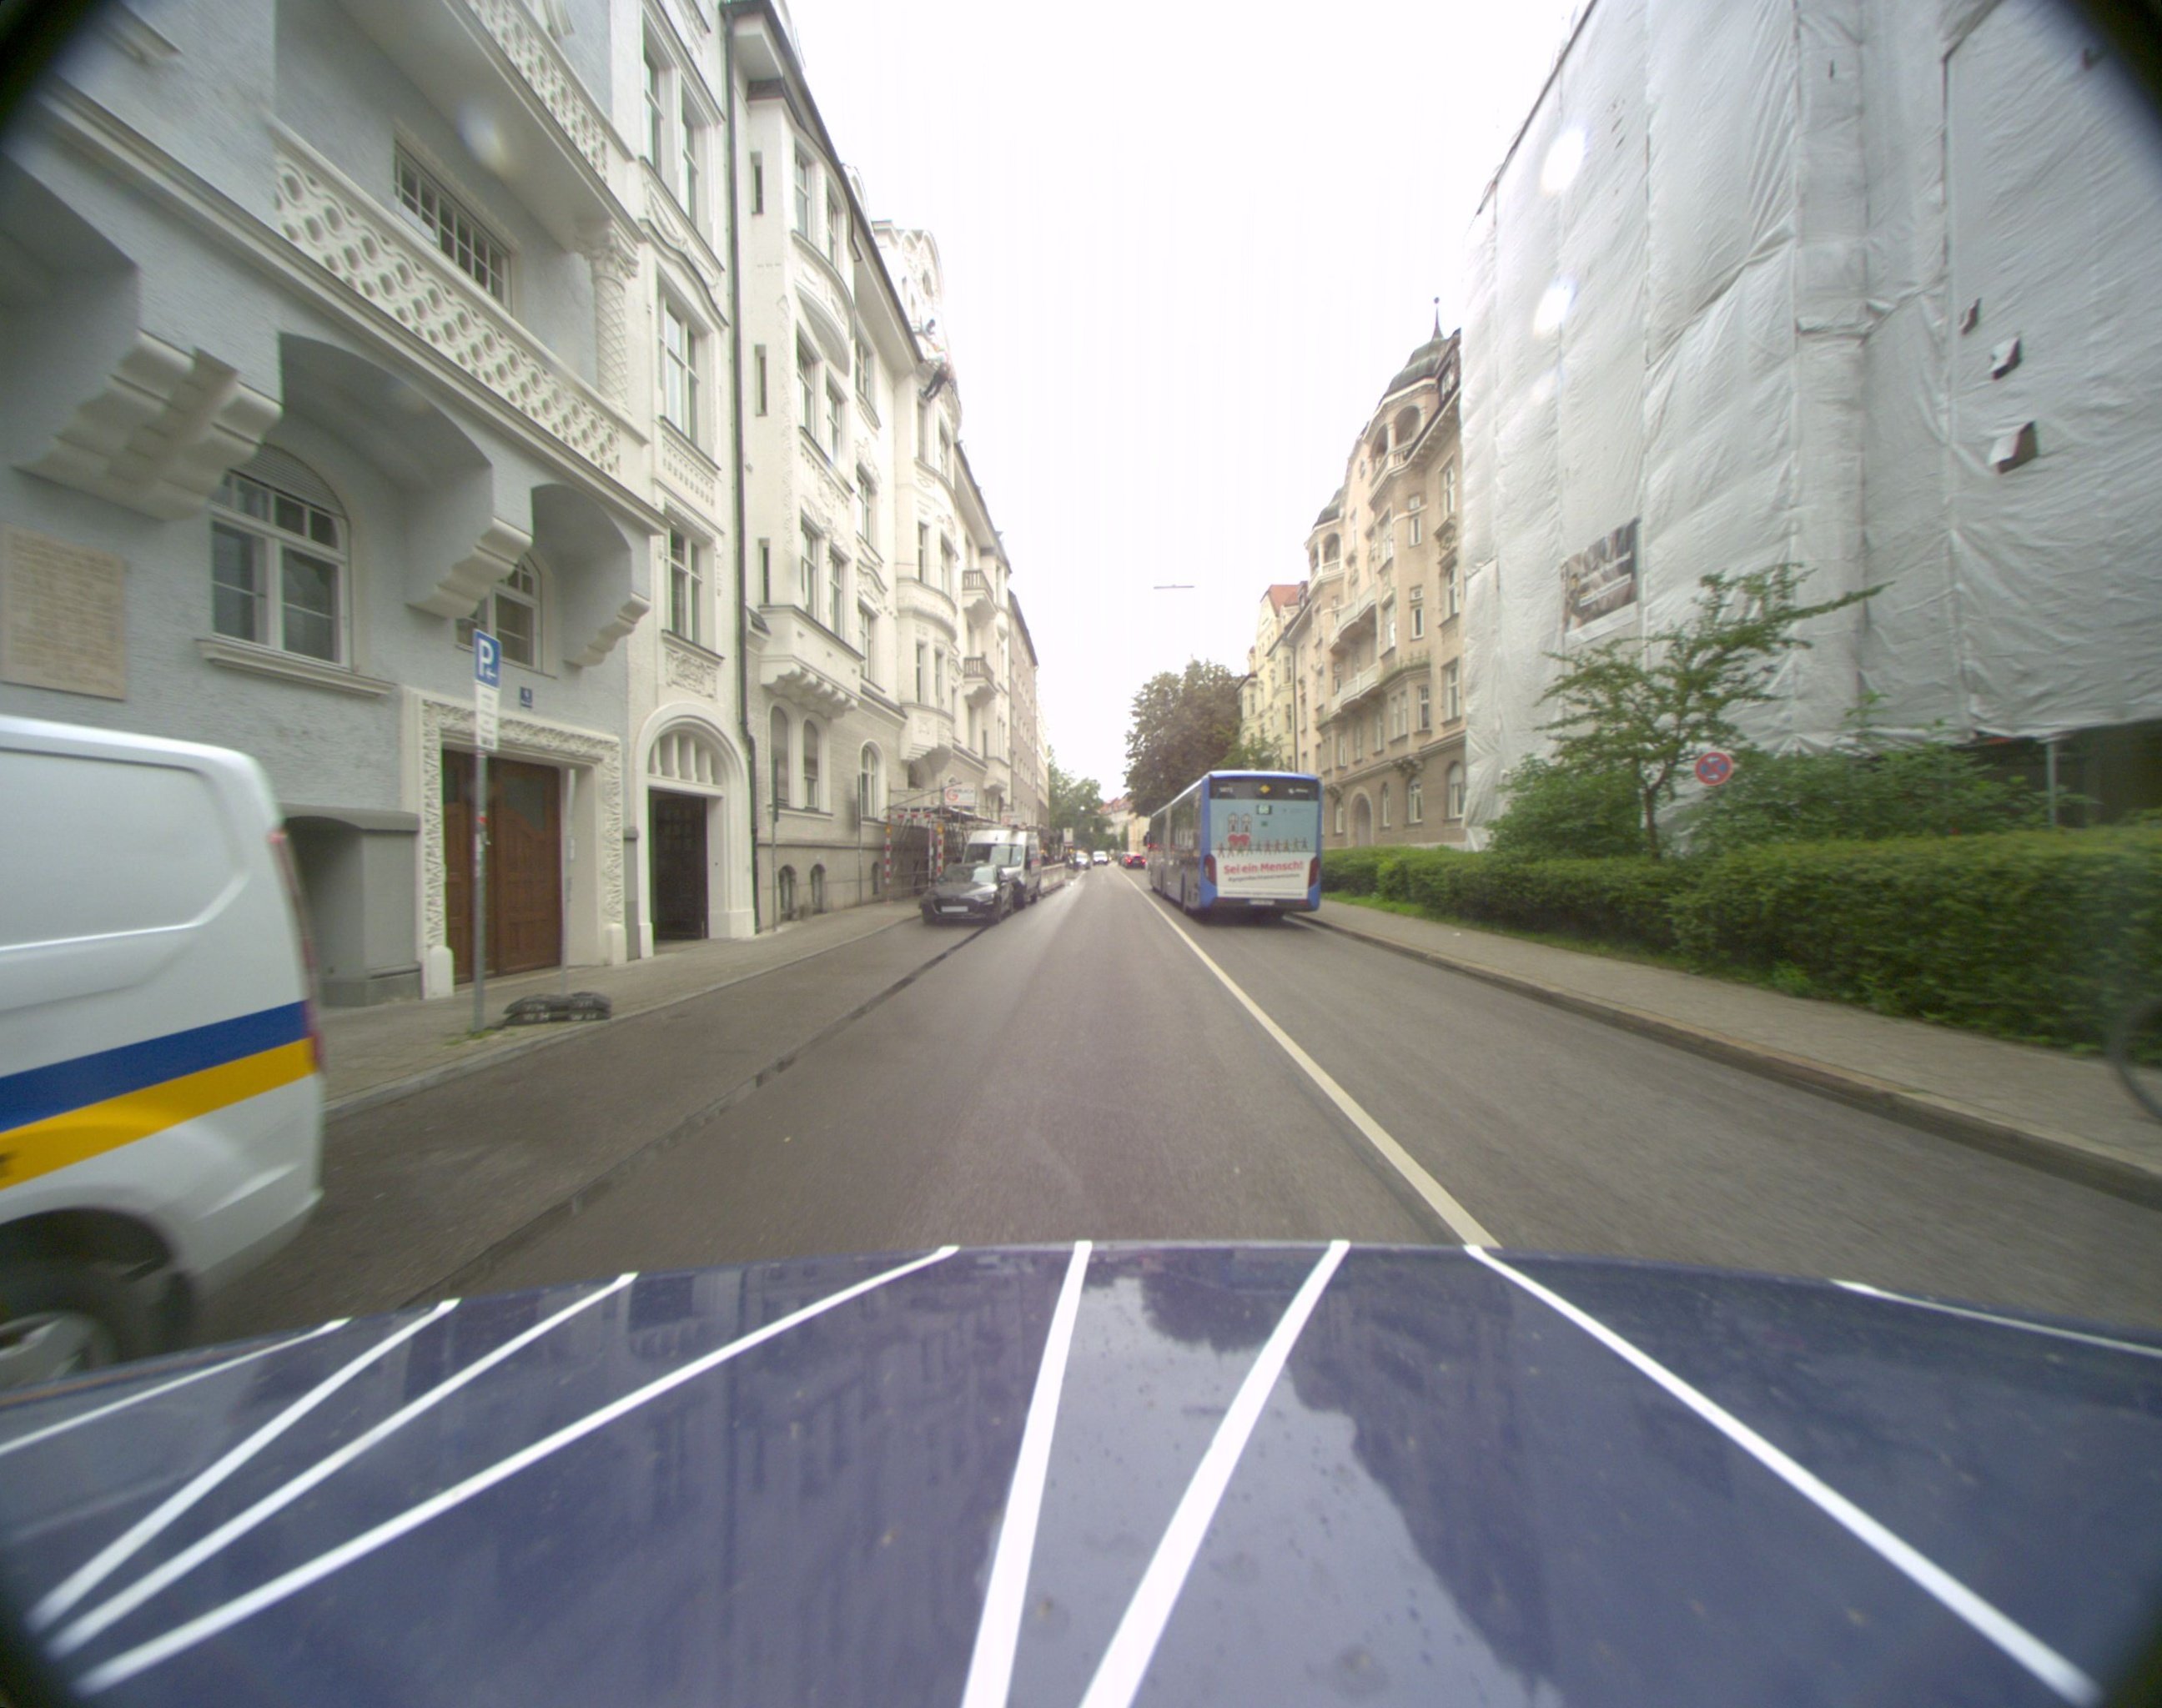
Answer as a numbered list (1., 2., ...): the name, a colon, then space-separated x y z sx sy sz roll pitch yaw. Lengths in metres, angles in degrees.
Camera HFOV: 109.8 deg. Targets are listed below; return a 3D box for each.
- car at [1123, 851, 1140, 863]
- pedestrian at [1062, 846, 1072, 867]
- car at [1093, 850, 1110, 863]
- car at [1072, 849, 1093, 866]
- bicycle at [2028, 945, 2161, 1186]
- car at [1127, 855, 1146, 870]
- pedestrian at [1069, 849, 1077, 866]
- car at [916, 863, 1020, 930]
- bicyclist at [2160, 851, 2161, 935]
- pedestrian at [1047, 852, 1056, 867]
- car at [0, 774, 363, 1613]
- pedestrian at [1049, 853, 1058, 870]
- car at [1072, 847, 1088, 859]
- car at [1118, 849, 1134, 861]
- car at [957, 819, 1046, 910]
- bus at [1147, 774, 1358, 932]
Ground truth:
1. car: 5.895 0.340 88.426 1.723 1.398 4.002 -1 0 6
2. pedestrian: -1.289 0.229 70.785 0.826 1.849 0.820 -1 1 1
3. car: 2.700 0.296 98.917 1.918 1.648 4.603 -1 0 5
4. car: 0.196 0.323 77.348 1.723 1.622 4.002 -1 0 6
5. bicycle: 5.583 1.054 3.139 0.770 1.075 2.050 -3 0 1
6. car: 5.528 0.859 75.361 1.723 1.398 4.002 -1 0 6
7. pedestrian: -0.808 0.378 76.316 0.745 1.706 0.616 -1 1 2
8. car: -2.693 0.970 19.033 1.792 1.399 4.245 -1 0 2
9. bicyclist: 5.569 0.711 3.110 0.770 1.484 1.060 -3 1 1
10. pedestrian: -2.711 0.494 70.286 0.837 1.399 0.866 -1 1 -2
11. car: -3.462 0.792 0.138 1.999 1.907 4.877 -1 0 0
12. pedestrian: -2.647 0.745 73.128 0.837 1.580 0.806 -1 1 -2
13. car: -0.098 -0.135 98.944 1.723 1.622 4.002 -1 0 6
14. car: 5.589 0.061 93.472 1.723 1.398 4.002 -1 0 6
15. car: -2.473 0.282 25.048 2.081 2.673 5.445 1 1 3
16. bus: 4.266 -0.098 24.530 3.179 3.193 18.057 1 0 2
